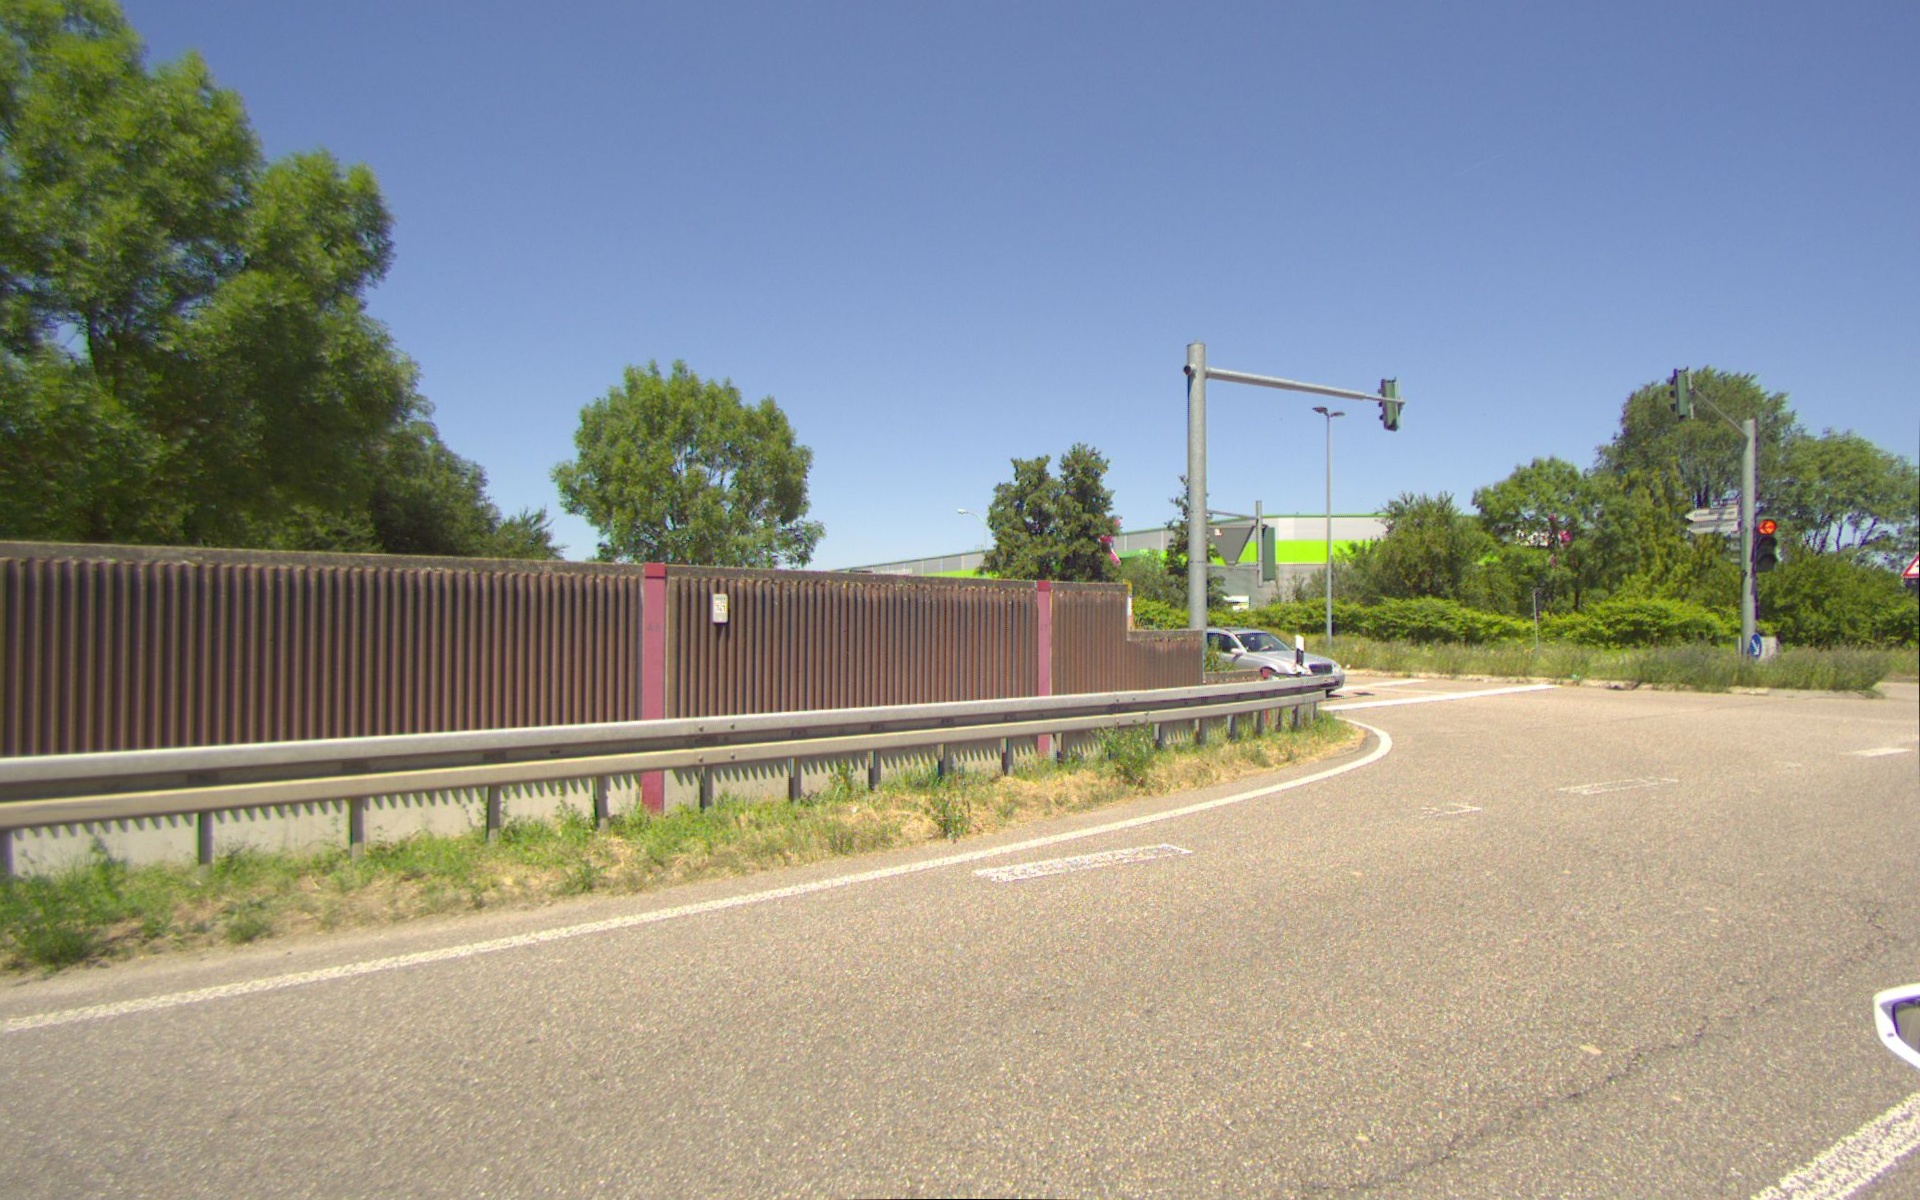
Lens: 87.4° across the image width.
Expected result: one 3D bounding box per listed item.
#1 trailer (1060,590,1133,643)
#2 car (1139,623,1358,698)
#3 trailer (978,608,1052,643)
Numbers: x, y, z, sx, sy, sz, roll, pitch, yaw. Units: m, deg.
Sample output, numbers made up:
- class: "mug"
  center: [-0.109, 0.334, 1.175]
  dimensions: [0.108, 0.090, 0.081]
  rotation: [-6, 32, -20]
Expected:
- class: "trailer"
  center: [7.369, 0.888, 54.120]
  dimensions: [3.682, 2.801, 1.828]
  rotation: [1, -1, 14]
- class: "car"
  center: [6.400, 1.286, 22.898]
  dimensions: [1.855, 1.476, 4.931]
  rotation: [1, -1, -30]
- class: "trailer"
  center: [2.959, 1.340, 53.754]
  dimensions: [3.683, 1.815, 1.827]
  rotation: [0, -1, 15]
